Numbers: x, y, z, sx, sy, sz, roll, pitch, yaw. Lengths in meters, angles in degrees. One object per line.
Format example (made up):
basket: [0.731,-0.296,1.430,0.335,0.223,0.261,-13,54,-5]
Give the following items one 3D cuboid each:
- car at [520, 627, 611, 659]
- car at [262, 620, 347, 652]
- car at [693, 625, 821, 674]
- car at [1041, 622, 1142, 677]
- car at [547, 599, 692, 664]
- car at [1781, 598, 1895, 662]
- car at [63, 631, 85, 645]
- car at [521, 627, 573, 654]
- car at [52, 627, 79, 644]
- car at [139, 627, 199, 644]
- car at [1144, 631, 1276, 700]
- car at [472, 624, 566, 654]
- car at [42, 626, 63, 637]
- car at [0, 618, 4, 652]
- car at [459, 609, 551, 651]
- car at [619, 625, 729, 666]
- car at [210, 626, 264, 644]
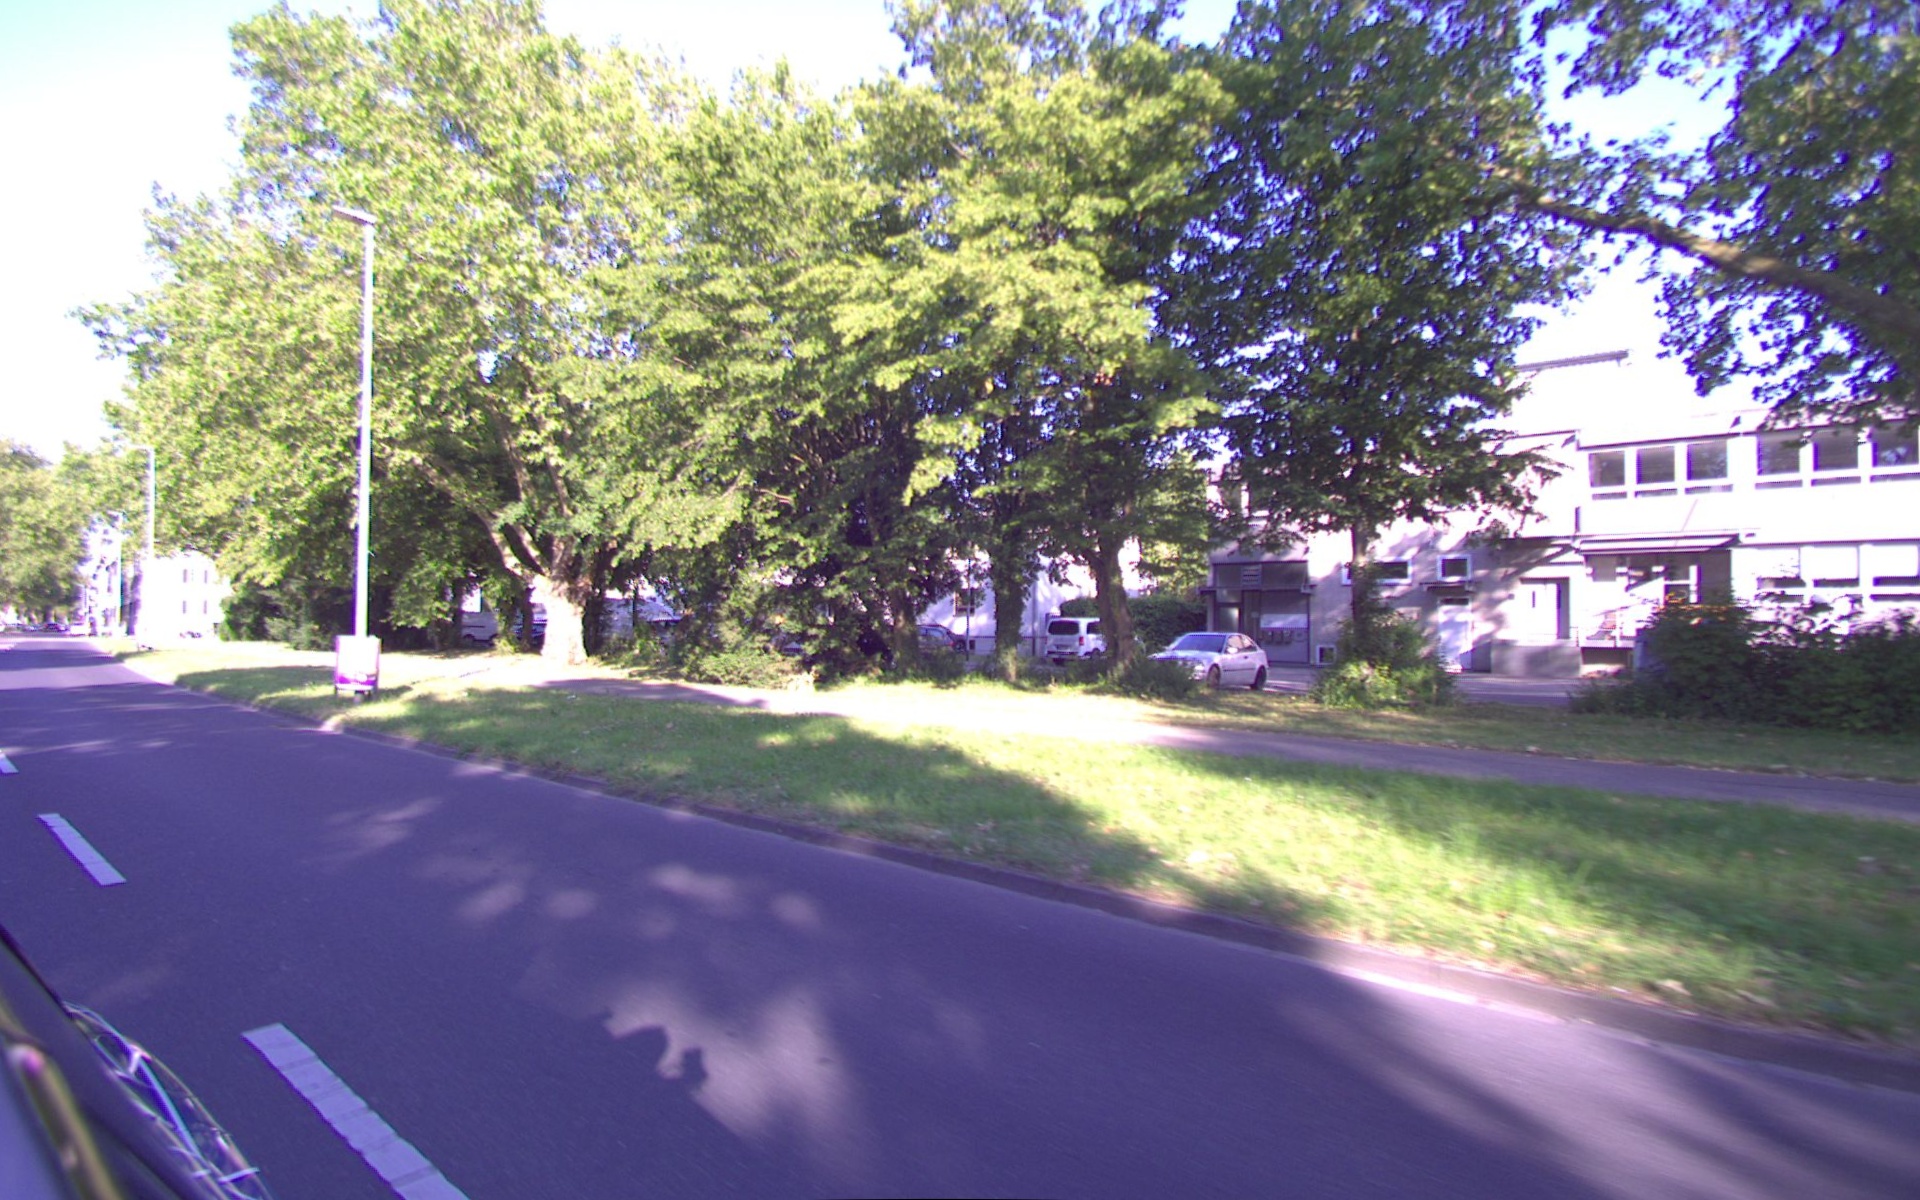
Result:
car: [-17.787,1.937,45.733,1.693,1.392,3.442,-2,-3,43]
car: [-38.676,2.088,59.752,1.728,1.696,3.942,-1,-1,44]
car: [-7.064,1.728,35.486,1.951,1.608,4.083,-1,-3,39]
car: [5.340,1.909,40.681,1.998,2.029,4.500,0,-1,38]
car: [-14.411,1.413,43.069,2.187,2.521,5.369,-1,-4,44]
car: [23.834,0.832,27.614,1.925,1.614,3.952,0,-3,35]
car: [-108.074,4.649,123.464,1.843,1.624,4.090,1,-2,-44]
car: [-27.972,2.715,68.454,1.870,1.754,4.180,5,-4,-43]
car: [-81.606,3.249,92.330,1.739,1.495,4.114,0,-1,-40]
car: [-69.883,3.177,89.487,3.932,1.429,1.919,2,-4,-33]
car: [6.044,1.598,24.205,1.763,1.475,3.696,-1,-6,37]
car: [-21.792,1.950,50.092,1.693,1.392,3.886,-1,-3,43]
car: [-138.109,4.838,154.032,1.871,1.602,4.079,3,-3,-34]
car: [-57.453,2.085,59.028,1.904,2.029,4.009,2,-2,-36]
car: [-23.595,1.578,52.537,1.906,2.060,3.947,-4,-4,39]
car: [-11.086,1.756,39.354,1.814,1.511,3.685,-2,-3,43]
car: [-65.623,3.162,91.920,3.933,1.573,1.869,0,-2,-34]
